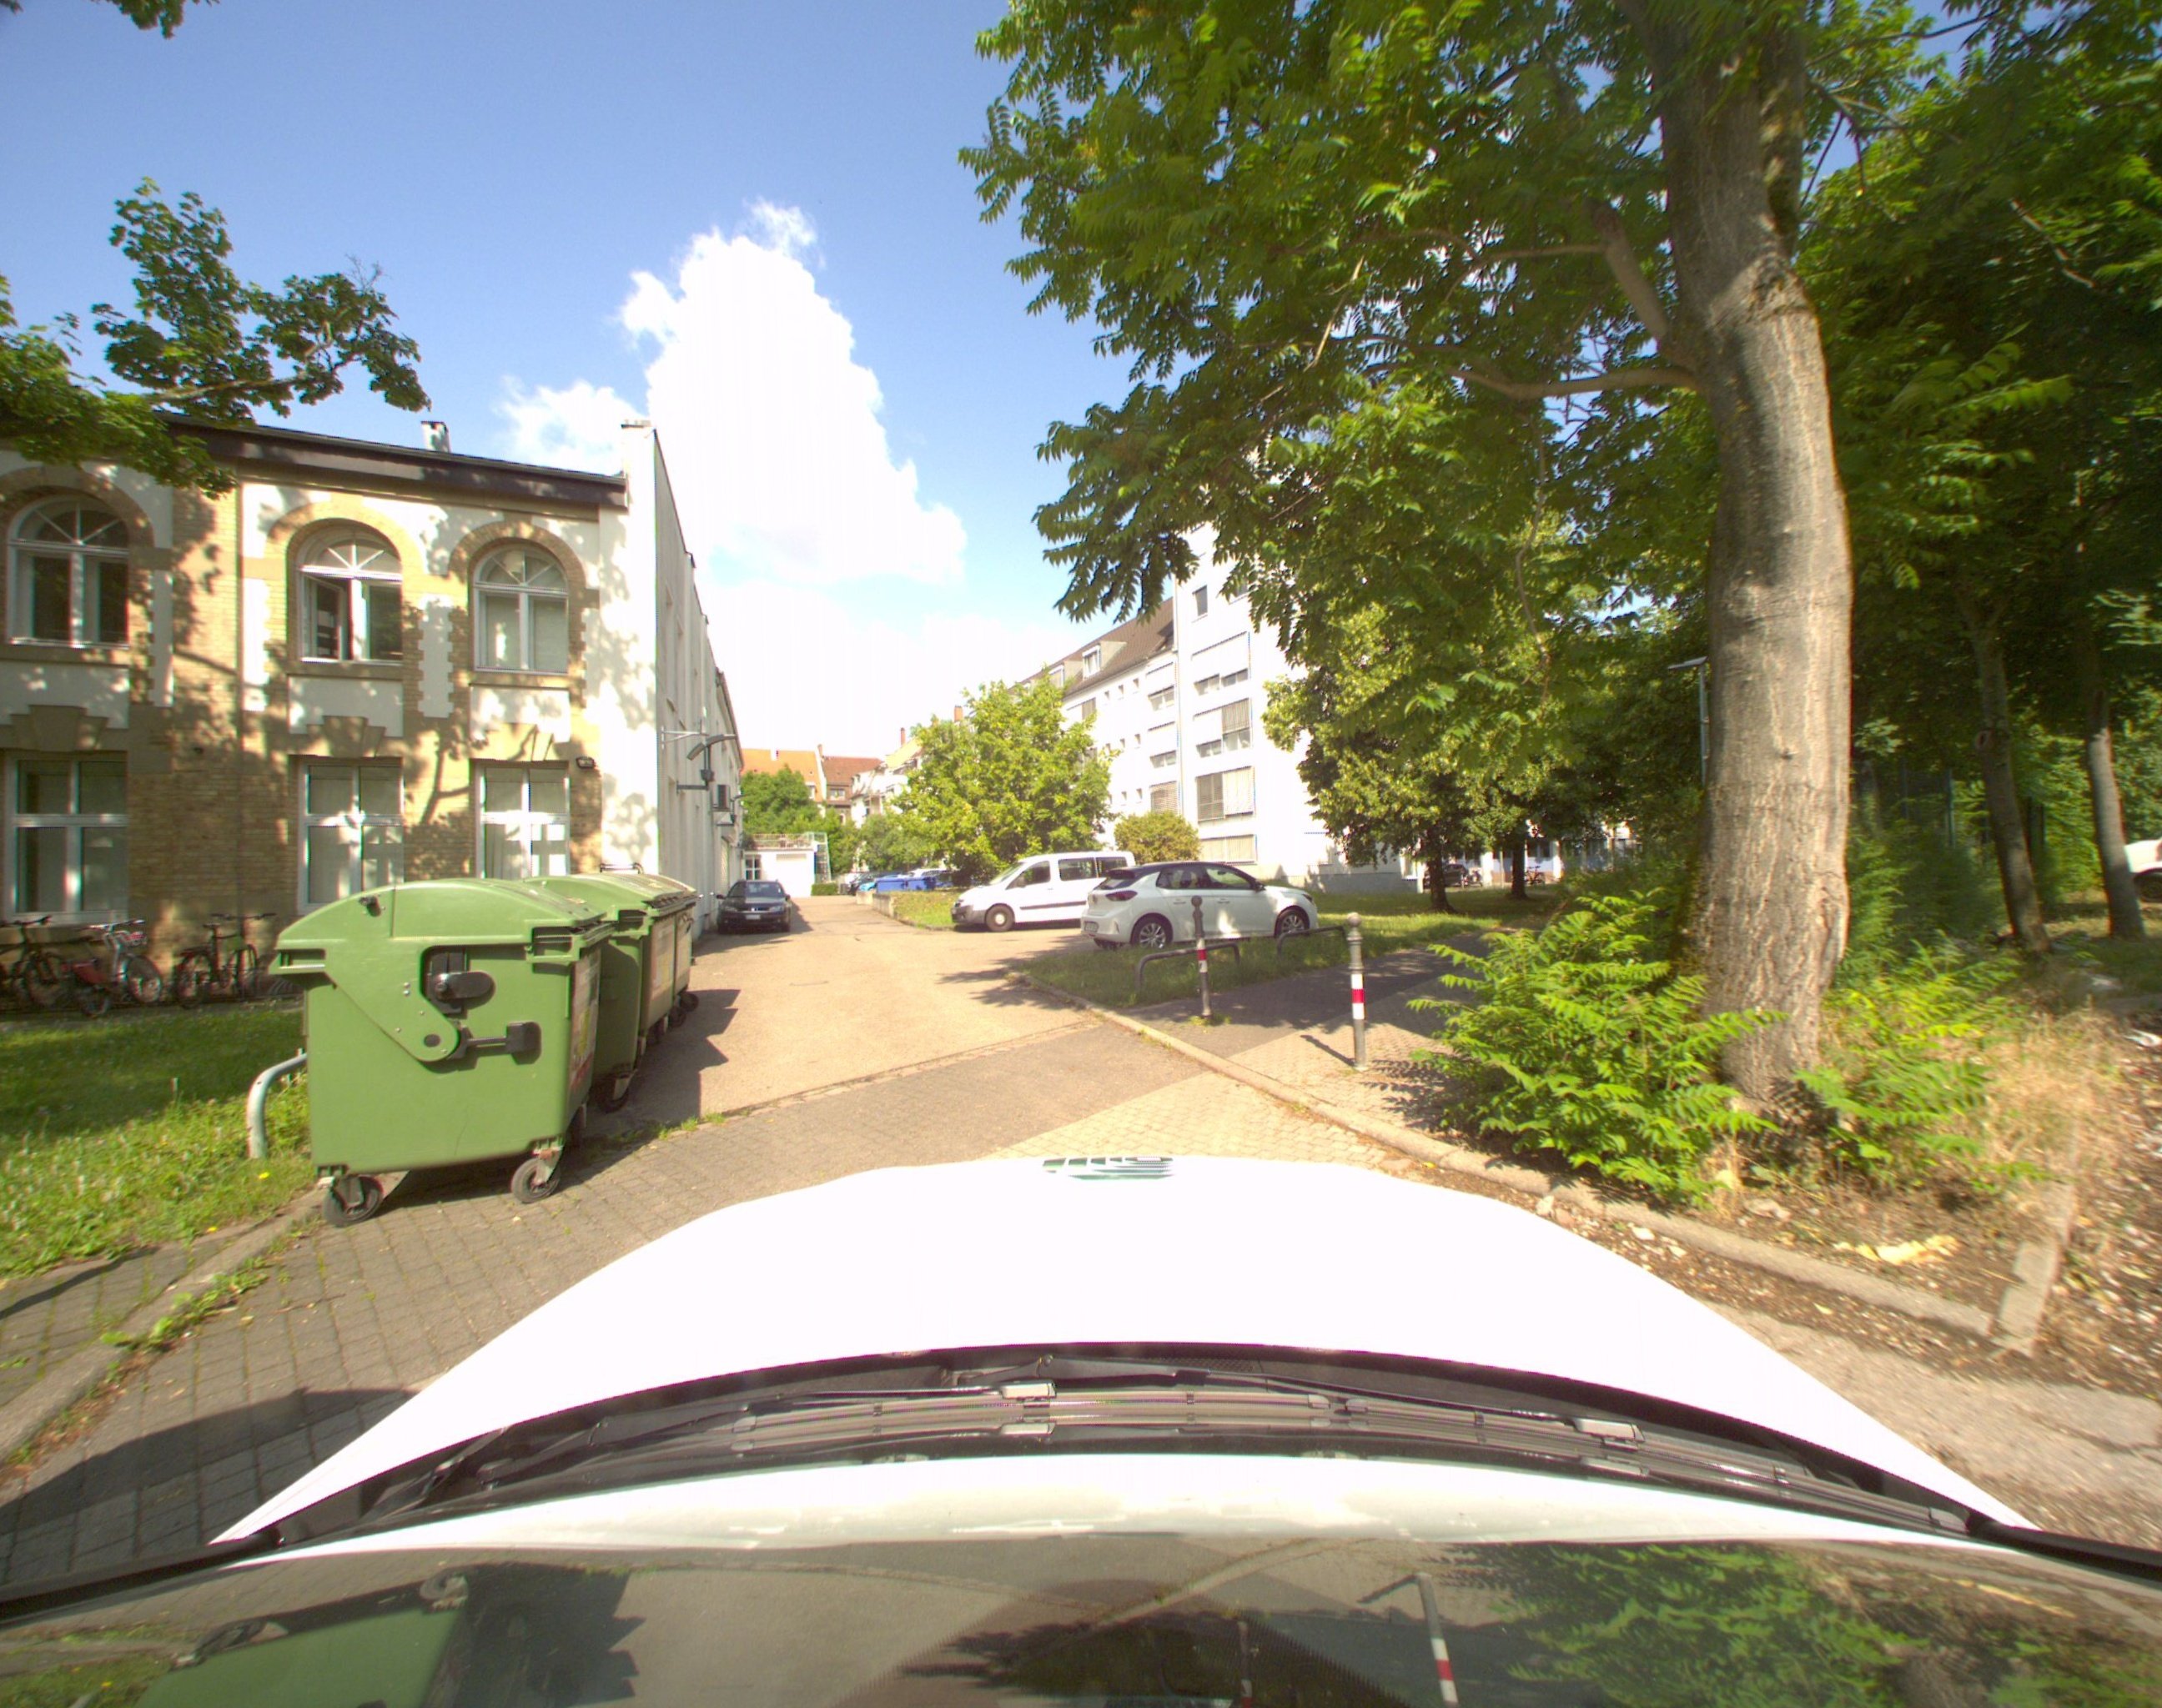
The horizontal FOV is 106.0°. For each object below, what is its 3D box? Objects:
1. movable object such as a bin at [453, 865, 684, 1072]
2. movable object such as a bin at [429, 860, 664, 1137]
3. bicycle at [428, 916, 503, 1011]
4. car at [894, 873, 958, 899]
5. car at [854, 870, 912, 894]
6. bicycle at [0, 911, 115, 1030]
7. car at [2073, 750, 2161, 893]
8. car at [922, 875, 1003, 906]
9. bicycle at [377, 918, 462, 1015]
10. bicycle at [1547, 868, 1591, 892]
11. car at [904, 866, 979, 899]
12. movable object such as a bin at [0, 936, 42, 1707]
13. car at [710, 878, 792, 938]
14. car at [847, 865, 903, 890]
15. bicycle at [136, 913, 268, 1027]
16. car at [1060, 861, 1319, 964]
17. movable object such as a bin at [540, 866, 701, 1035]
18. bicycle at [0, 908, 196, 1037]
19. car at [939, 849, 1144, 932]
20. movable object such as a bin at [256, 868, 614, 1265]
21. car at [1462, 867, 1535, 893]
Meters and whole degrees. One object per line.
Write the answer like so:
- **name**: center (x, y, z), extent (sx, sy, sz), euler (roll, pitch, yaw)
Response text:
- **movable object such as a bin**: center (-3.992, 0.833, 6.530), extent (1.227, 1.452, 1.274), euler (2, -2, -18)
- **movable object such as a bin**: center (-3.437, 0.800, 5.237), extent (1.108, 1.451, 1.220), euler (2, 0, -38)
- **bicycle**: center (-8.404, 1.450, 11.176), extent (0.320, 1.037, 1.846), euler (2, 0, -22)
- **car**: center (-10.581, 2.155, 55.692), extent (4.008, 1.444, 1.615), euler (-1, 4, -27)
- **car**: center (-14.885, 2.079, 61.362), extent (4.008, 1.573, 1.615), euler (-1, 3, -27)
- **bicycle**: center (-12.495, 1.380, 9.562), extent (0.419, 1.122, 2.056), euler (2, 4, -17)
- **car**: center (25.231, -0.613, 16.141), extent (2.009, 3.047, 6.899), euler (0, 2, -37)
- **car**: center (-6.712, 2.073, 46.136), extent (4.134, 1.606, 1.740), euler (2, 0, -27)
- **bicycle**: center (-8.818, 1.457, 10.913), extent (0.320, 1.037, 1.846), euler (2, 0, -22)
- **bicycle**: center (30.645, 1.635, 51.107), extent (2.852, 1.420, 0.796), euler (-1, 1, -21)
- **car**: center (-8.266, 1.631, 48.244), extent (4.008, 1.745, 1.933), euler (0, 2, -27)
- **movable object such as a bin**: center (-2.068, 0.859, 0.468), extent (1.242, 1.482, 1.295), euler (-1, -1, -2)
- **car**: center (-9.081, 1.412, 22.552), extent (1.886, 1.442, 4.309), euler (1, -1, -21)
- **car**: center (-16.199, 1.816, 64.018), extent (4.008, 1.817, 1.649), euler (2, 0, -27)
- **bicycle**: center (-11.013, 1.395, 10.268), extent (0.358, 1.142, 1.846), euler (2, 0, -22)
- **car**: center (1.787, 0.867, 13.452), extent (3.919, 1.420, 1.746), euler (-1, 1, -22)
- **movable object such as a bin**: center (-4.444, 0.879, 8.006), extent (1.103, 1.451, 1.335), euler (2, 0, -19)
- **bicycle**: center (-11.705, 1.342, 9.801), extent (0.419, 1.215, 2.055), euler (2, 1, -17)
- **car**: center (-1.041, 0.889, 21.180), extent (4.955, 1.965, 1.986), euler (0, -1, -20)
- **movable object such as a bin**: center (-2.943, 0.834, 3.946), extent (1.106, 1.451, 1.331), euler (2, 0, -29)
- **car**: center (25.258, 1.561, 49.260), extent (3.917, 1.420, 1.747), euler (-1, 1, -21)
